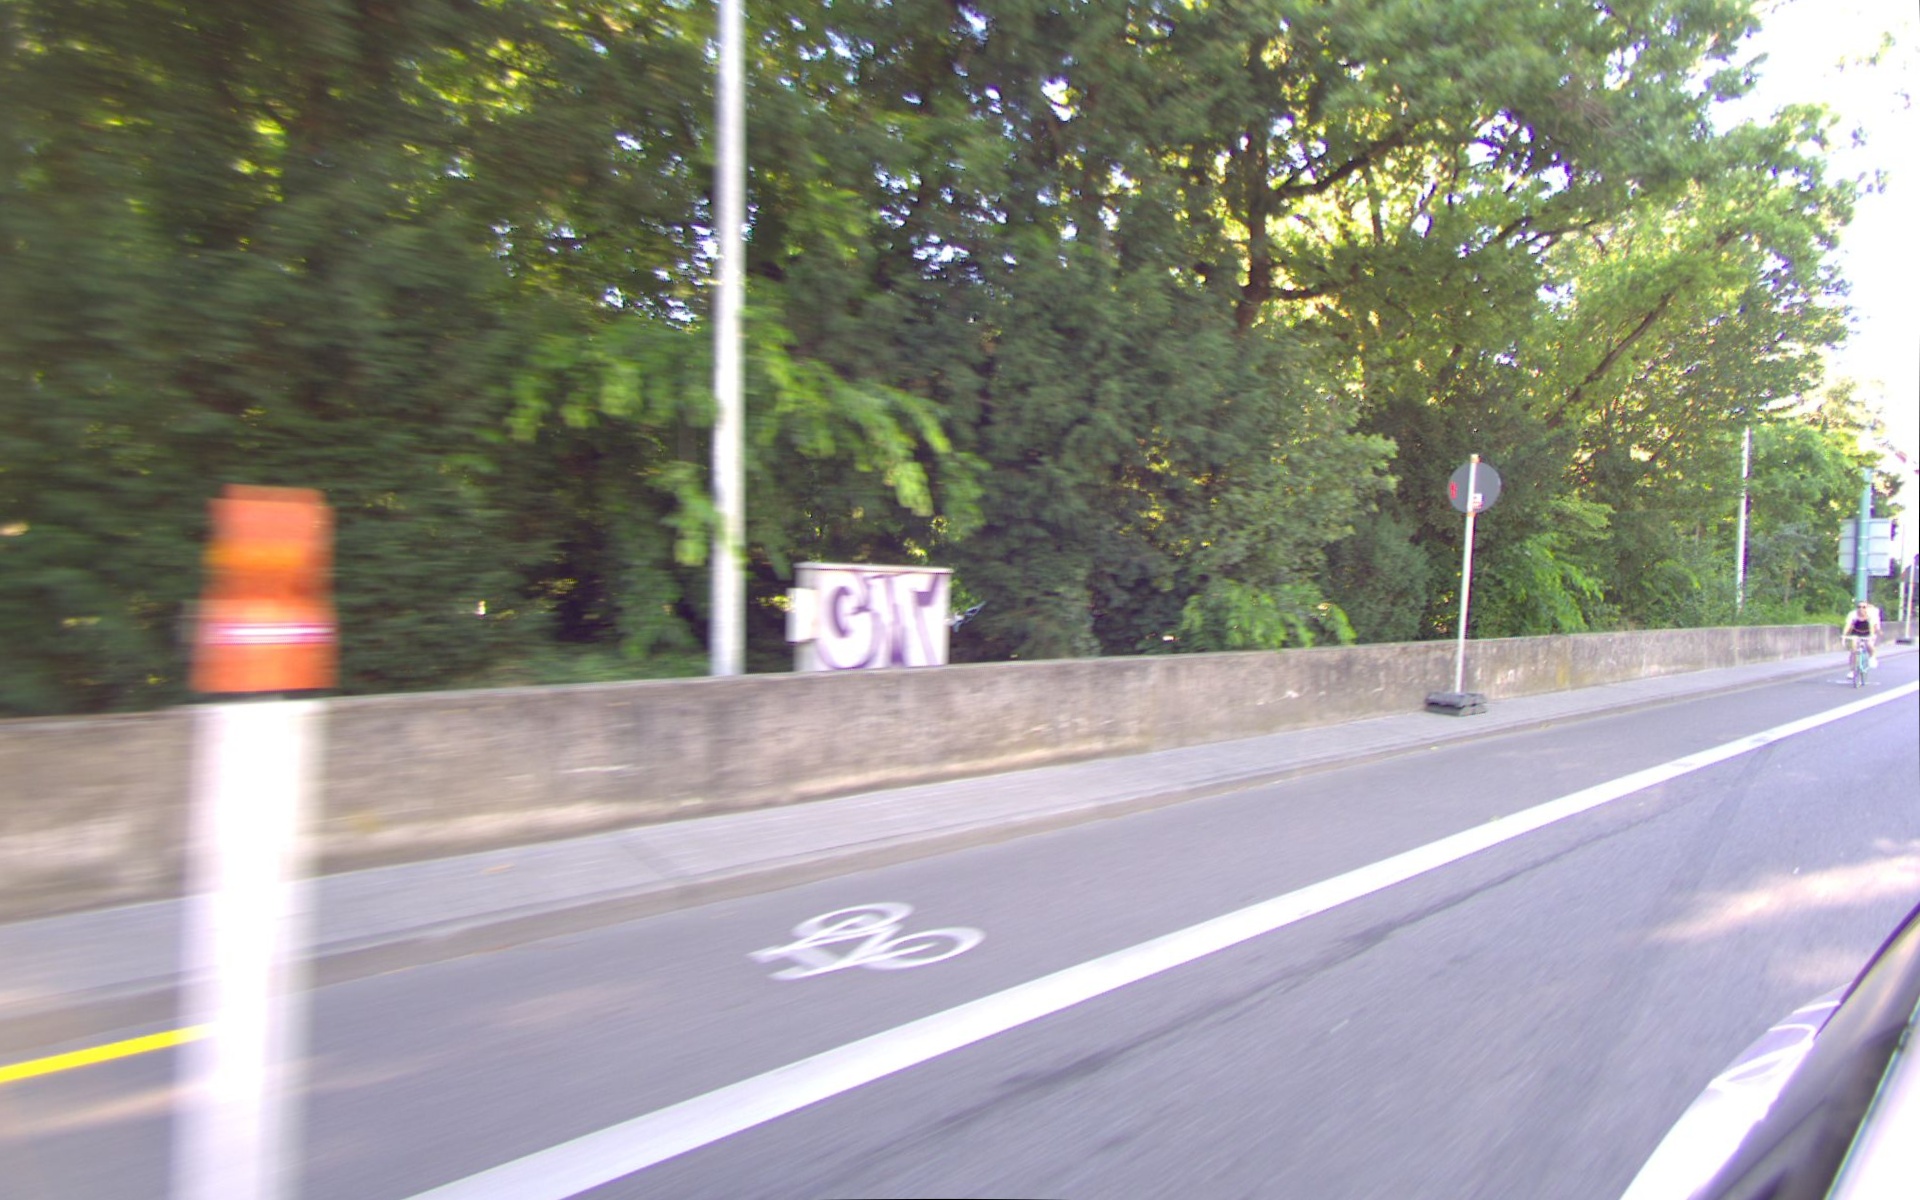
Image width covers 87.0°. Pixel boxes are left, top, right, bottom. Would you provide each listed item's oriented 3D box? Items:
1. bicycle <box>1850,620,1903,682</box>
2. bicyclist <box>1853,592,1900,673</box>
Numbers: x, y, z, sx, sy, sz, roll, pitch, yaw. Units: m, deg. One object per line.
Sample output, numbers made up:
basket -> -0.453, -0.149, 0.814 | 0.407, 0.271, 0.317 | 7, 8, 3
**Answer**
bicycle -> 16.694, 0.912, 18.434 | 1.479, 1.037, 0.505 | 0, 1, -40
bicyclist -> 16.655, 0.571, 18.389 | 0.791, 1.424, 0.516 | 0, 1, -41
